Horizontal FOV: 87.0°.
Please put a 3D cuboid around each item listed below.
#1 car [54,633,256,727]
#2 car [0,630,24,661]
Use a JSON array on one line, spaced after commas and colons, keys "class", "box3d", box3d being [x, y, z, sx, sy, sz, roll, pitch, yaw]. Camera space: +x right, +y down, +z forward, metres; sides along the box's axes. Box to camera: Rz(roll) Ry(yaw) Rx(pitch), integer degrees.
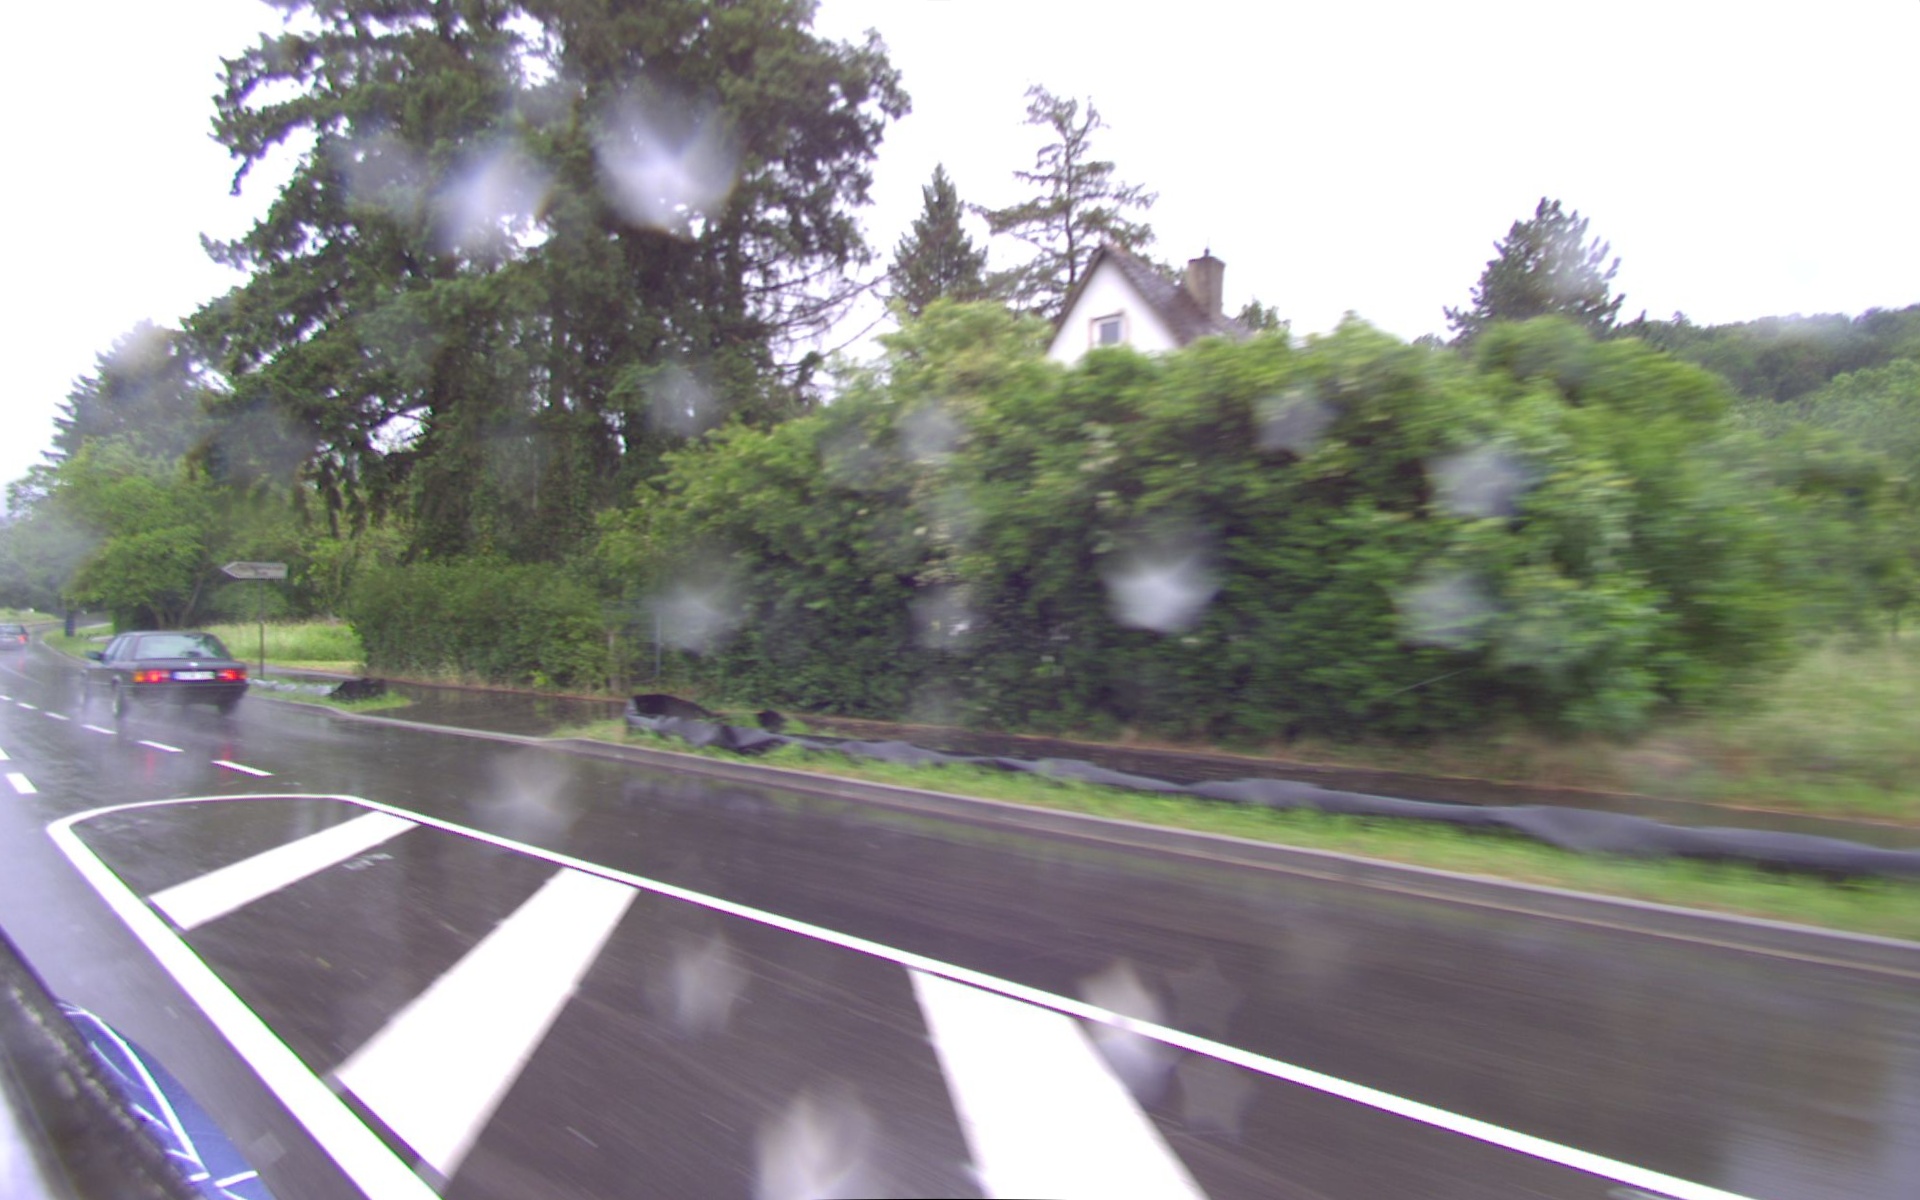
[{"class": "car", "box3d": [-13.547, 1.280, 16.949, 4.219, 1.393, 1.666, -2, -5, 38]}, {"class": "car", "box3d": [-50.438, 2.398, 53.098, 4.001, 1.564, 1.740, -4, -5, 44]}]
